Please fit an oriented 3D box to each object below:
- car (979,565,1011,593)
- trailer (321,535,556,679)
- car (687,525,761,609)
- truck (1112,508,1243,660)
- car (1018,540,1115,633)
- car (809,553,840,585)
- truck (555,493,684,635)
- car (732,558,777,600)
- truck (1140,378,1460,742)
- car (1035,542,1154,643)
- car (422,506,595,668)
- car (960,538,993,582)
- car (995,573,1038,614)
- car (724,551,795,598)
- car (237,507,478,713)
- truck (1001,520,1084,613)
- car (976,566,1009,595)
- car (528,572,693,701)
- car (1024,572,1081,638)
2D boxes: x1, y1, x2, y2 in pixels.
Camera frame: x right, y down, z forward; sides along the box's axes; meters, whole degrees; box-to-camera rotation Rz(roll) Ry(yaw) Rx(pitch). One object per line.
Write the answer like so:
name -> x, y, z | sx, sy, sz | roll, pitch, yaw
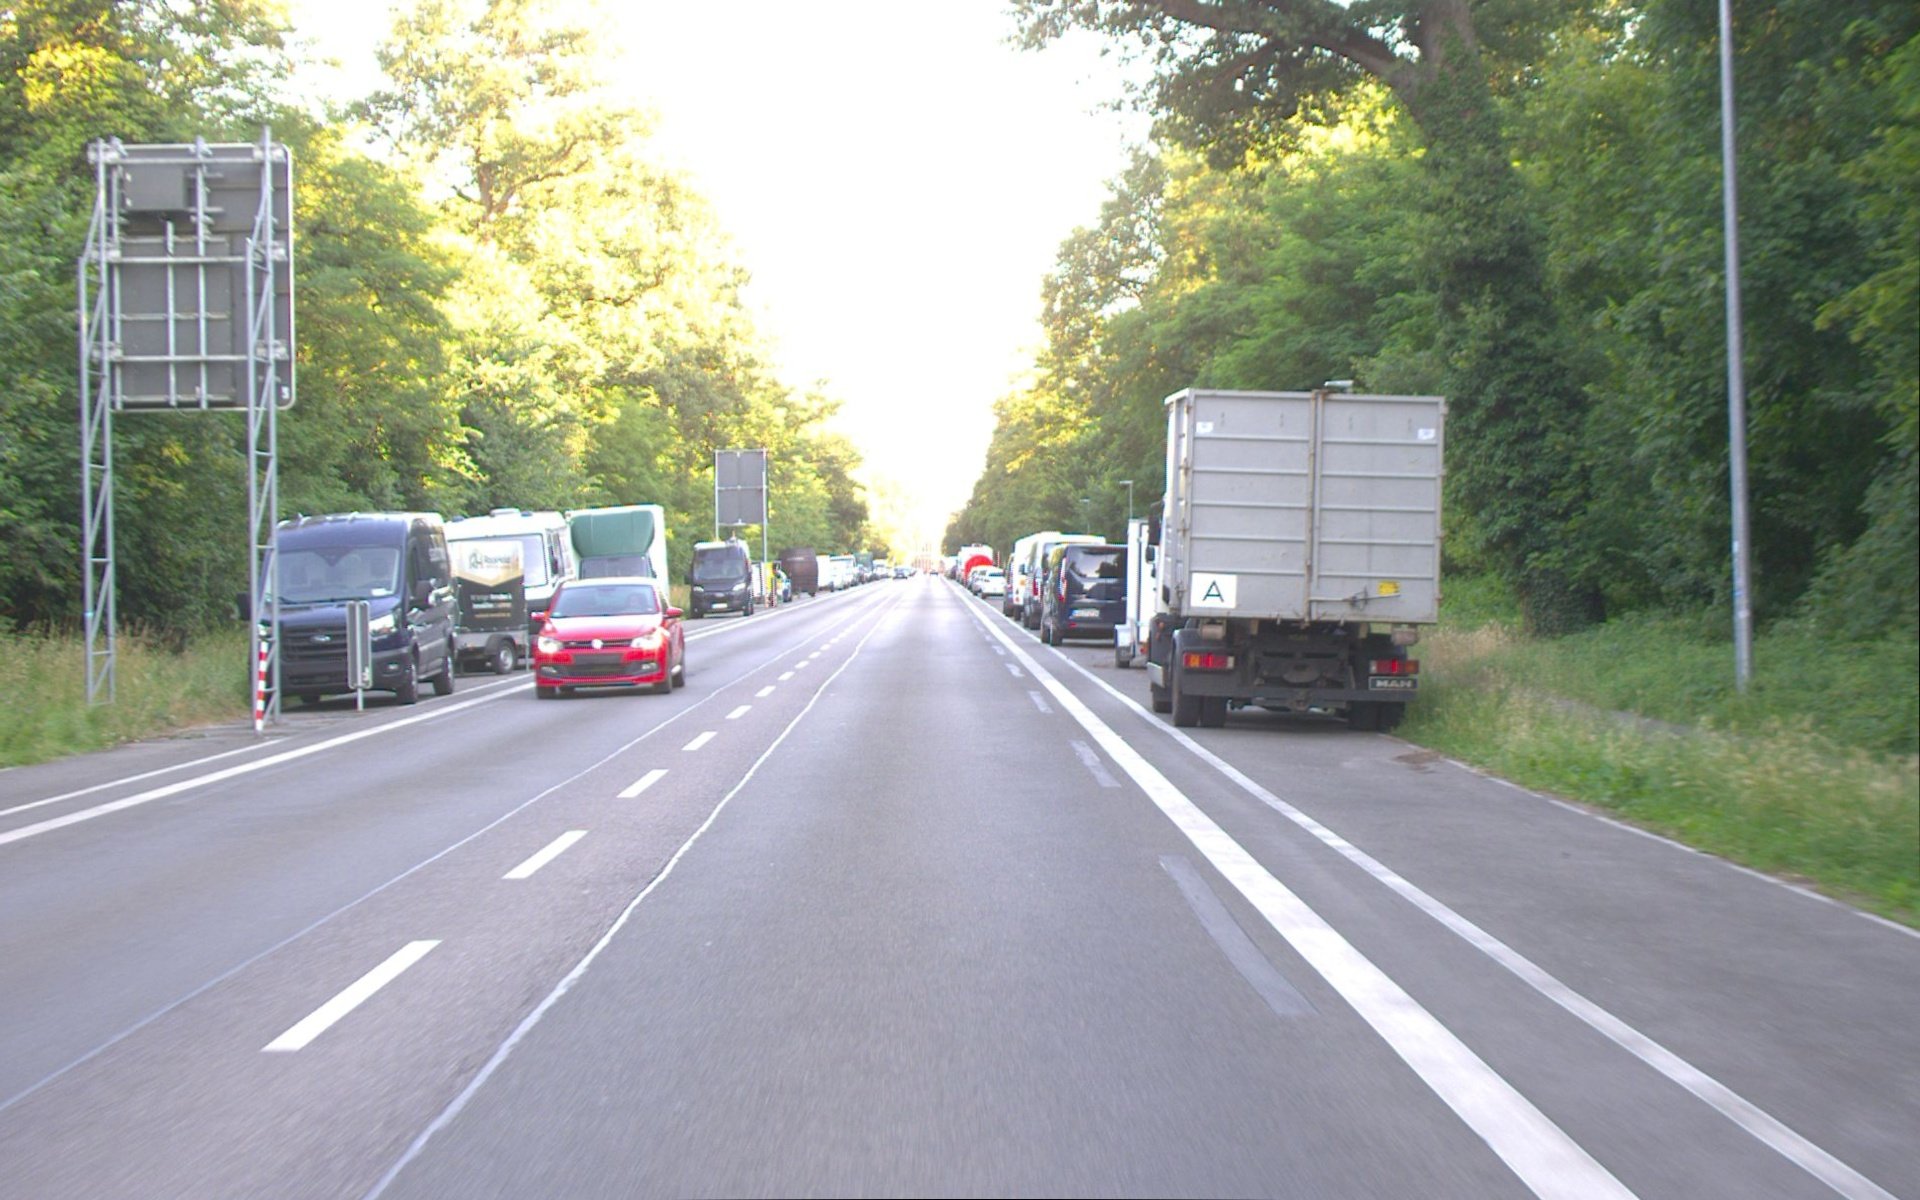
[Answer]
car -> 1.664, -1.021, 165.451 | 1.427, 1.218, 3.412 | -3, 1, 0
trailer -> -8.301, 0.075, 55.037 | 1.964, 2.147, 3.926 | -2, 1, 21
car -> -8.261, -1.174, 120.782 | 2.186, 2.779, 5.334 | -2, 1, -1
truck -> 3.356, -0.251, 53.705 | 1.885, 2.276, 4.299 | 0, 0, 1
car -> 2.667, -0.349, 87.329 | 2.141, 2.306, 4.300 | 0, 0, -3
car -> -9.015, -2.038, 228.348 | 1.993, 2.007, 4.000 | -1, -1, -3
truck -> -8.477, -0.917, 86.134 | 2.504, 3.317, 6.842 | -2, 1, -1
car -> -8.484, -0.868, 142.070 | 1.771, 1.666, 4.001 | 1, 1, -2
truck -> 3.223, -0.385, 34.293 | 2.589, 3.244, 7.220 | 0, 0, 1
car -> 2.636, -0.160, 68.207 | 1.993, 1.948, 4.300 | 0, 0, -3
car -> -7.878, -0.266, 60.564 | 2.249, 2.638, 5.721 | -2, 1, -1
car -> 1.170, -2.892, 247.386 | 2.314, 3.082, 5.639 | 0, 1, -1
car -> 1.745, -0.219, 106.563 | 1.147, 1.247, 2.754 | -1, 1, -3
car -> -8.739, -1.112, 150.203 | 1.701, 2.007, 3.996 | 1, 1, 18
car -> -7.632, 0.081, 44.139 | 1.993, 2.356, 5.766 | -4, 1, -1
truck -> 2.381, -0.976, 100.556 | 2.141, 2.650, 4.300 | 0, 0, -3
car -> 1.719, -1.036, 182.856 | 1.645, 1.481, 4.000 | 0, 1, -1
car -> -4.389, 0.431, 43.643 | 1.682, 1.481, 4.038 | -2, 1, -1
car -> 2.190, 0.104, 81.933 | 1.147, 1.541, 2.754 | 0, 0, -3
